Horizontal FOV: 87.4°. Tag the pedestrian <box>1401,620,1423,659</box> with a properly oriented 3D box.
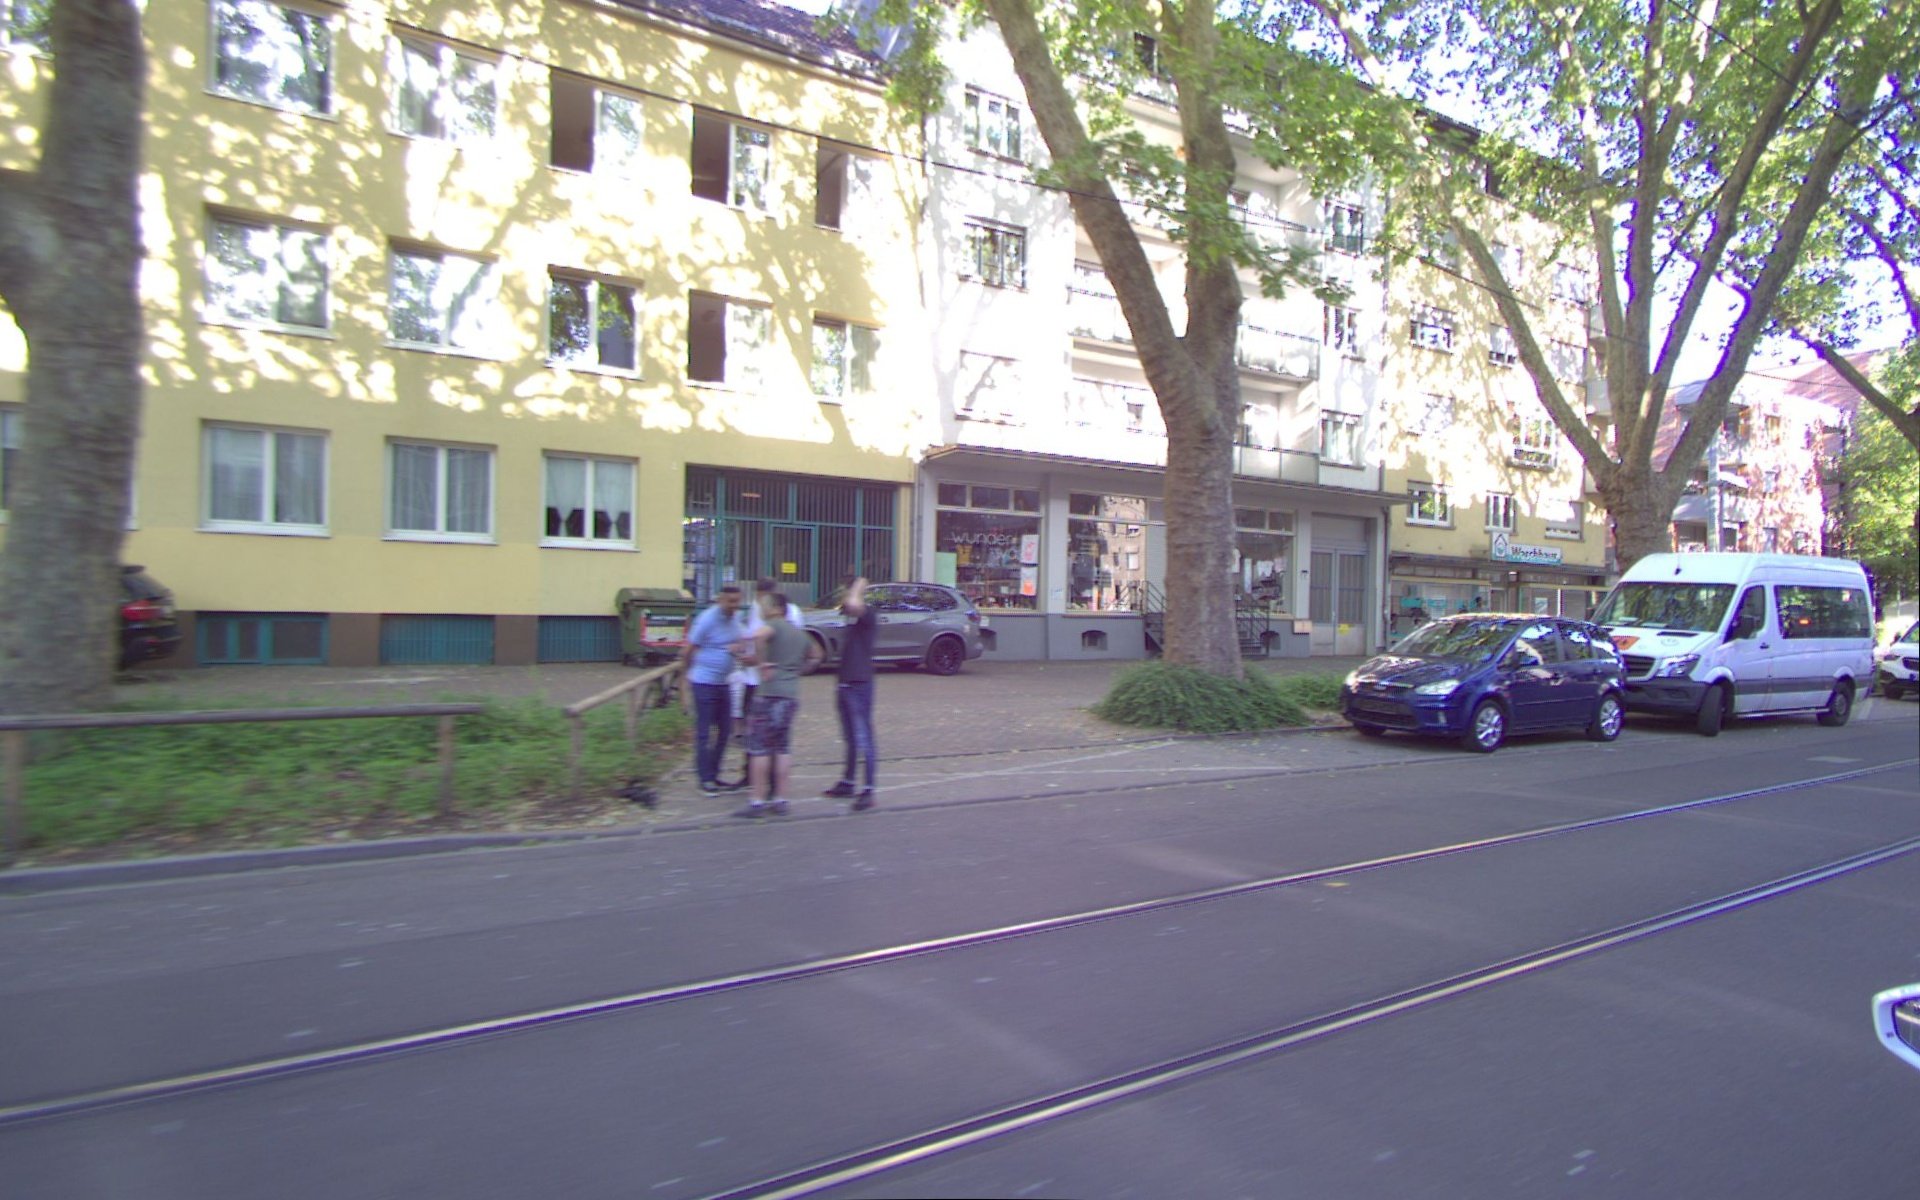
[{"bbox_3d":[13.344,1.153,29.646,0.434,1.120,0.416,2,0,-39],"label":"pedestrian"}]

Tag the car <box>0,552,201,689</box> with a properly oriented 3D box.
[{"bbox_3d":[-13.319,0.224,13.502,4.636,1.760,1.986,2,0,-27],"label":"car"}]

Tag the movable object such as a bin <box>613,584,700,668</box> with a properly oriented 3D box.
[{"bbox_3d":[-5.782,0.489,19.105,1.328,1.522,1.224,2,0,-30],"label":"movable object such as a bin"}]

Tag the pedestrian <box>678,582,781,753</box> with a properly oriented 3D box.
[{"bbox_3d":[-2.305,0.650,10.104,0.699,1.631,0.771,2,0,13],"label":"pedestrian"}]

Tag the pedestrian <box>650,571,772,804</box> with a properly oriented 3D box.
[{"bbox_3d":[-2.010,0.661,8.069,0.709,1.758,0.764,2,0,-32],"label":"pedestrian"}]

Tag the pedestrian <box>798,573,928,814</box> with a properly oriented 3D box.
[{"bbox_3d":[-0.782,0.704,8.002,0.761,1.801,0.708,2,0,-29],"label":"pedestrian"}]

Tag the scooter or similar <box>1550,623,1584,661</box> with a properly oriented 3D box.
[{"bbox_3d":[19.669,1.364,32.563,0.662,1.182,0.644,2,0,-2],"label":"scooter or similar"}]

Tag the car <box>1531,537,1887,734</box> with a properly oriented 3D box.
[{"bbox_3d":[11.777,0.545,15.684,5.949,2.612,2.099,2,0,-28],"label":"car"}]

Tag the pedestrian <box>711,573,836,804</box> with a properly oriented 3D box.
[{"bbox_3d":[-1.496,0.679,8.150,0.699,1.758,0.771,2,0,13],"label":"pedestrian"}]

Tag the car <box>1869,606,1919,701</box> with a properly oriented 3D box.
[{"bbox_3d":[21.034,1.131,21.051,4.269,1.875,1.754,2,0,-31],"label":"car"}]

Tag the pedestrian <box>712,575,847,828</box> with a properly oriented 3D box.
[{"bbox_3d":[-1.318,0.714,7.456,0.755,1.758,0.714,2,0,7],"label":"pedestrian"}]

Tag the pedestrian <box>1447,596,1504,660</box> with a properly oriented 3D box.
[{"bbox_3d":[15.615,0.835,30.424,1.047,1.889,1.101,2,0,-32],"label":"pedestrian"}]

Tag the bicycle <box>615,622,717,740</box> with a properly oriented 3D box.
[{"bbox_3d":[-3.108,0.813,10.777,0.558,1.094,1.851,2,0,-2],"label":"bicycle"}]

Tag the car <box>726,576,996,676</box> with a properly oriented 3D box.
[{"bbox_3d":[-1.901,0.516,19.624,4.838,1.756,1.985,2,0,-29],"label":"car"}]

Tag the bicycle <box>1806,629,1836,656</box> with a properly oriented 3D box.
[{"bbox_3d":[38.069,1.868,44.405,1.519,1.099,0.538,-1,2,-31],"label":"bicycle"}]

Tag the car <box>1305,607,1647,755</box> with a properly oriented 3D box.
[{"bbox_3d":[6.676,0.956,12.921,4.233,1.582,1.907,2,0,-30],"label":"car"}]
